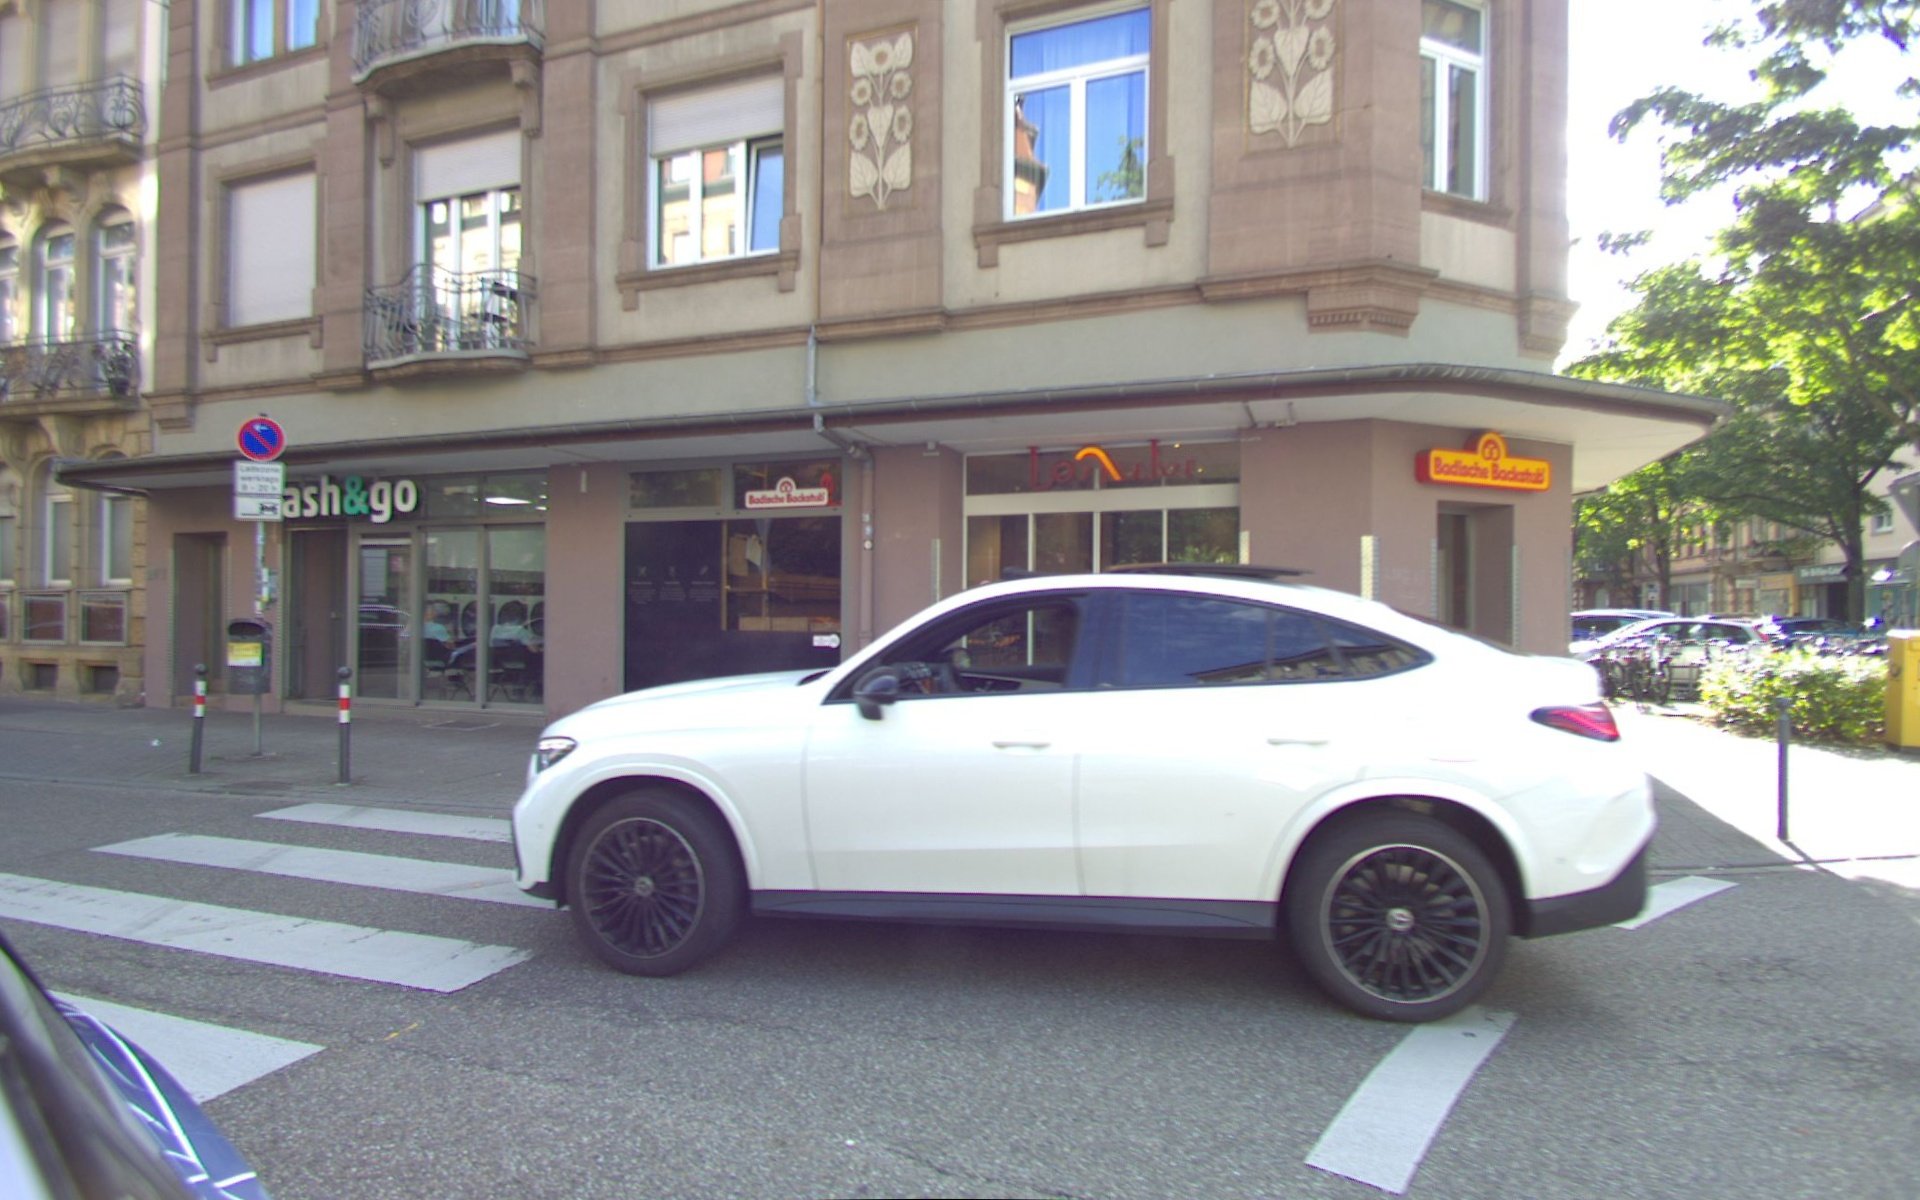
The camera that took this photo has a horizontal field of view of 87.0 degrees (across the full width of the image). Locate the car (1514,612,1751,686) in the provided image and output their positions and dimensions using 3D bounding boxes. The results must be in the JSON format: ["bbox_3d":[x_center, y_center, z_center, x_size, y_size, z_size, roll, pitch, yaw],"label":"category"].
[{"bbox_3d":[14.560,1.021,22.178,4.046,1.487,1.566,0,0,22],"label":"car"}]

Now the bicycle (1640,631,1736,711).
[{"bbox_3d":[11.429,1.075,15.972,0.475,1.143,2.417,0,-1,17],"label":"bicycle"}]

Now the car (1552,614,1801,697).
[{"bbox_3d":[13.903,1.043,19.874,3.671,1.487,1.567,0,0,20],"label":"car"}]

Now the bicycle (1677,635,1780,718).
[{"bbox_3d":[11.936,1.142,15.803,0.475,1.143,2.417,0,-1,17],"label":"bicycle"}]

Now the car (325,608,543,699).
[{"bbox_3d":[-10.761,1.023,21.066,1.979,1.633,3.986,0,0,11],"label":"car"}]

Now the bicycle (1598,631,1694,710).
[{"bbox_3d":[10.887,1.078,16.149,0.575,1.143,2.417,0,-1,17],"label":"bicycle"}]

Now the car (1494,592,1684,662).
[{"bbox_3d":[15.226,0.634,24.702,3.673,1.608,1.566,0,0,22],"label":"car"}]

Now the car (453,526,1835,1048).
[{"bbox_3d":[0.529,0.620,4.574,4.788,1.647,1.994,0,-2,9],"label":"car"}]
